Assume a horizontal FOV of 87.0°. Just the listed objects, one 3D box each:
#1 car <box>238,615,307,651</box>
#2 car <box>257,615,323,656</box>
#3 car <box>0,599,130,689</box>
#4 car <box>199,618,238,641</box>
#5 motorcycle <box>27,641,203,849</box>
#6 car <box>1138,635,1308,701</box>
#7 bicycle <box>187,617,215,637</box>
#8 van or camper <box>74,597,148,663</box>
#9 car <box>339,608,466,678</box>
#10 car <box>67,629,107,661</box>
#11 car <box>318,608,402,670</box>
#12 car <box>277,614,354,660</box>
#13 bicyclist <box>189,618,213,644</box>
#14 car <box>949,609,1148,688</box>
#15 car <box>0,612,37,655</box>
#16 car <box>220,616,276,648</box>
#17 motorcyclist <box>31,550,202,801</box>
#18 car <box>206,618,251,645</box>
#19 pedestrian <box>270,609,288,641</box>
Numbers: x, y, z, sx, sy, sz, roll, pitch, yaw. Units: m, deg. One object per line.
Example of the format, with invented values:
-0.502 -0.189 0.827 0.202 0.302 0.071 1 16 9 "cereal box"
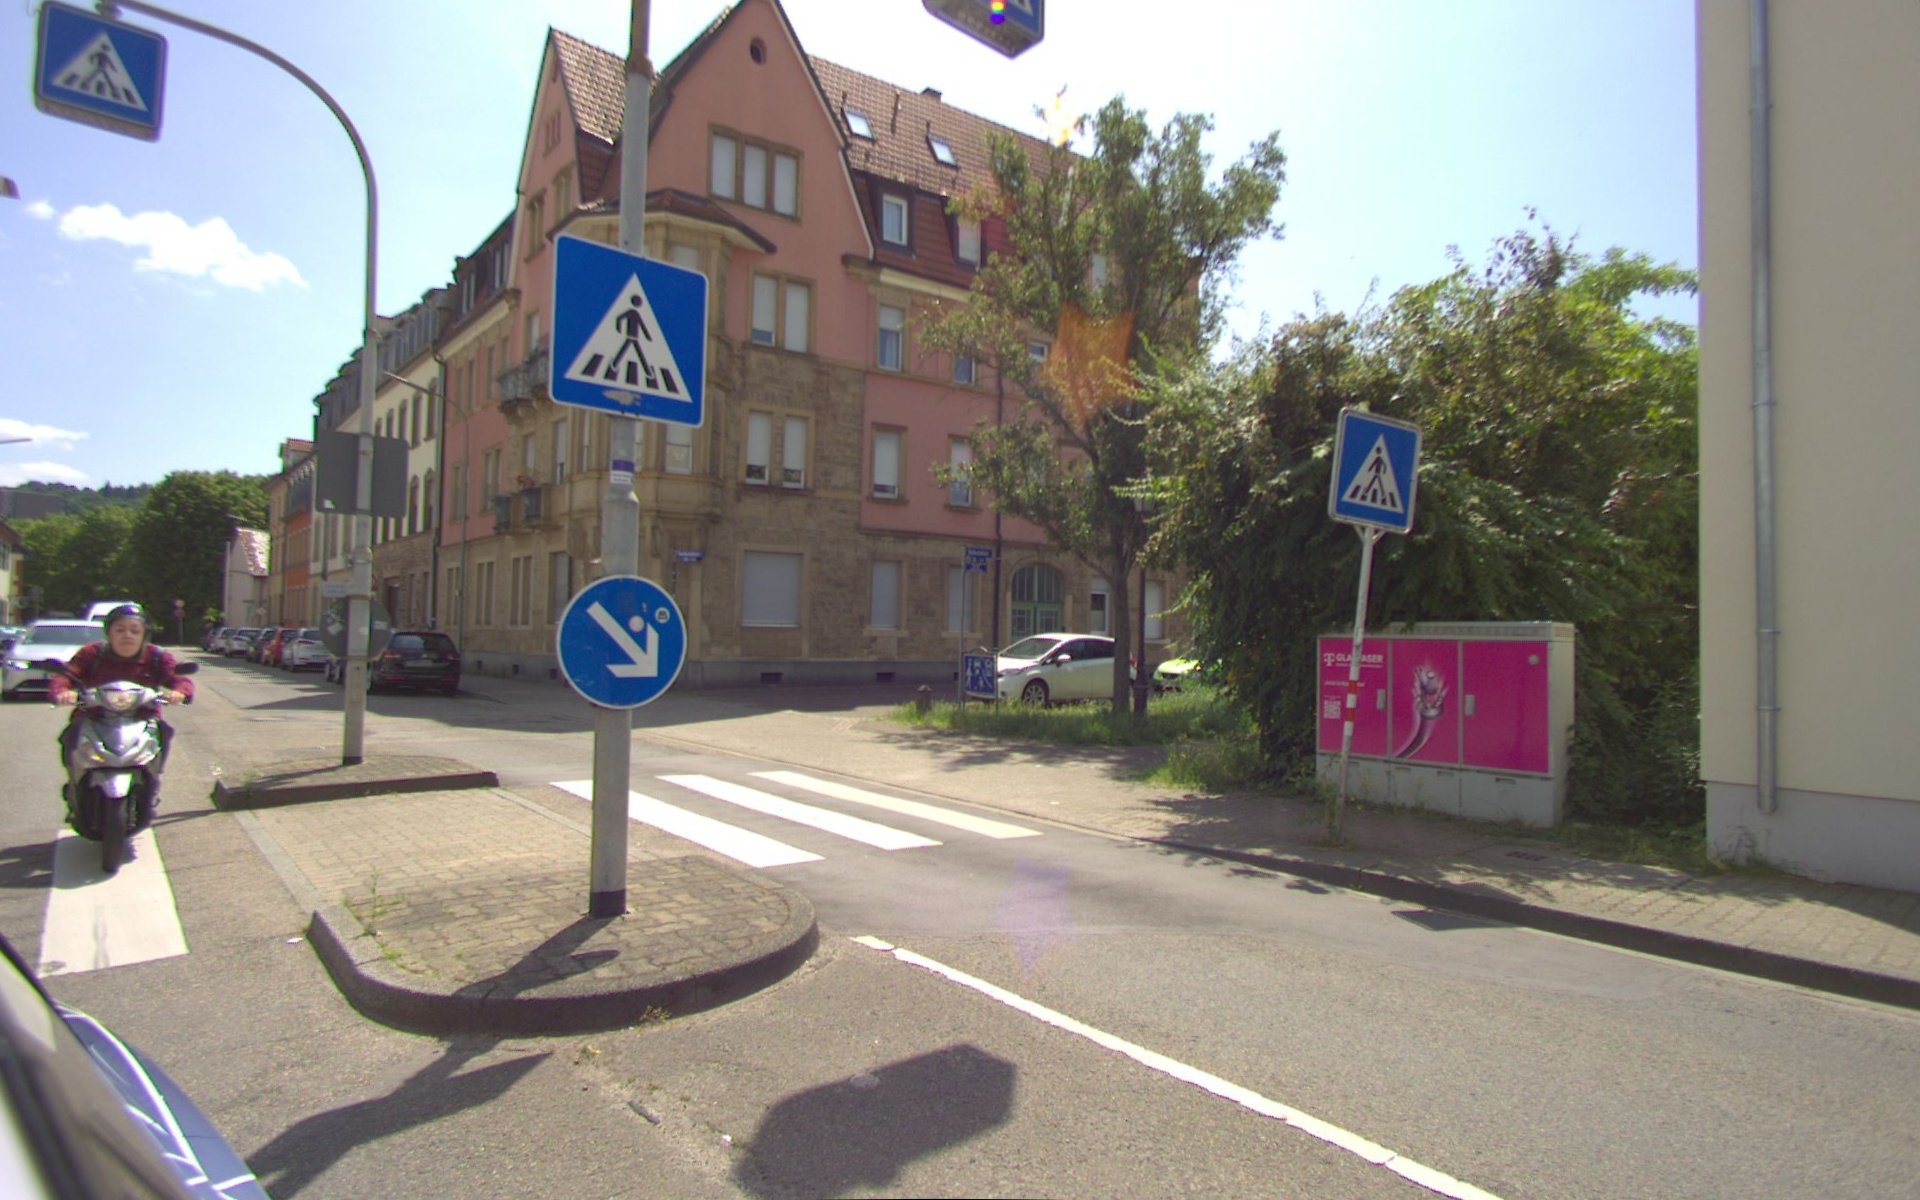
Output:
-29.080 1.381 42.780 1.849 1.449 4.224 2 -2 -42 "car"
-25.457 1.336 38.433 1.579 1.453 3.500 3 -3 -42 "car"
-17.034 0.792 19.248 1.785 1.533 4.006 1 -1 -41 "car"
-48.757 1.927 66.533 1.706 1.453 3.862 2 -2 -41 "car"
-5.352 0.815 6.417 0.748 1.063 1.995 1 -1 -41 "motorcycle"
6.222 1.561 23.818 3.934 1.409 1.808 2 -2 -36 "car"
-52.020 1.851 69.377 0.226 1.285 1.880 2 -3 5 "bicycle"
-32.004 1.130 38.107 1.969 2.304 5.151 2 -2 -41 "van or camper"
-13.133 0.952 23.703 1.760 1.469 4.643 2 -2 -39 "car"
-60.258 3.059 69.900 1.969 2.029 4.007 -1 0 -40 "car"
-15.922 1.009 26.805 1.419 1.534 2.699 2 -2 -41 "car"
-21.742 1.237 34.061 1.614 1.442 4.025 4 -3 -40 "car"
-52.052 2.137 69.394 0.635 1.775 1.166 2 -3 4 "bicyclist"
1.914 0.957 21.362 3.934 1.513 1.873 0 -1 -36 "car"
-32.784 1.122 34.675 1.636 1.386 4.244 2 -2 -42 "car"
-35.218 1.577 50.046 1.854 1.522 4.388 2 -2 -40 "car"
-5.398 0.443 6.495 0.781 1.451 1.022 1 -1 -41 "motorcyclist"
-41.064 1.764 56.781 1.689 1.470 3.859 4 -3 -41 "car"
-38.435 1.417 57.125 0.759 1.784 0.765 -1 -1 -41 "pedestrian"
